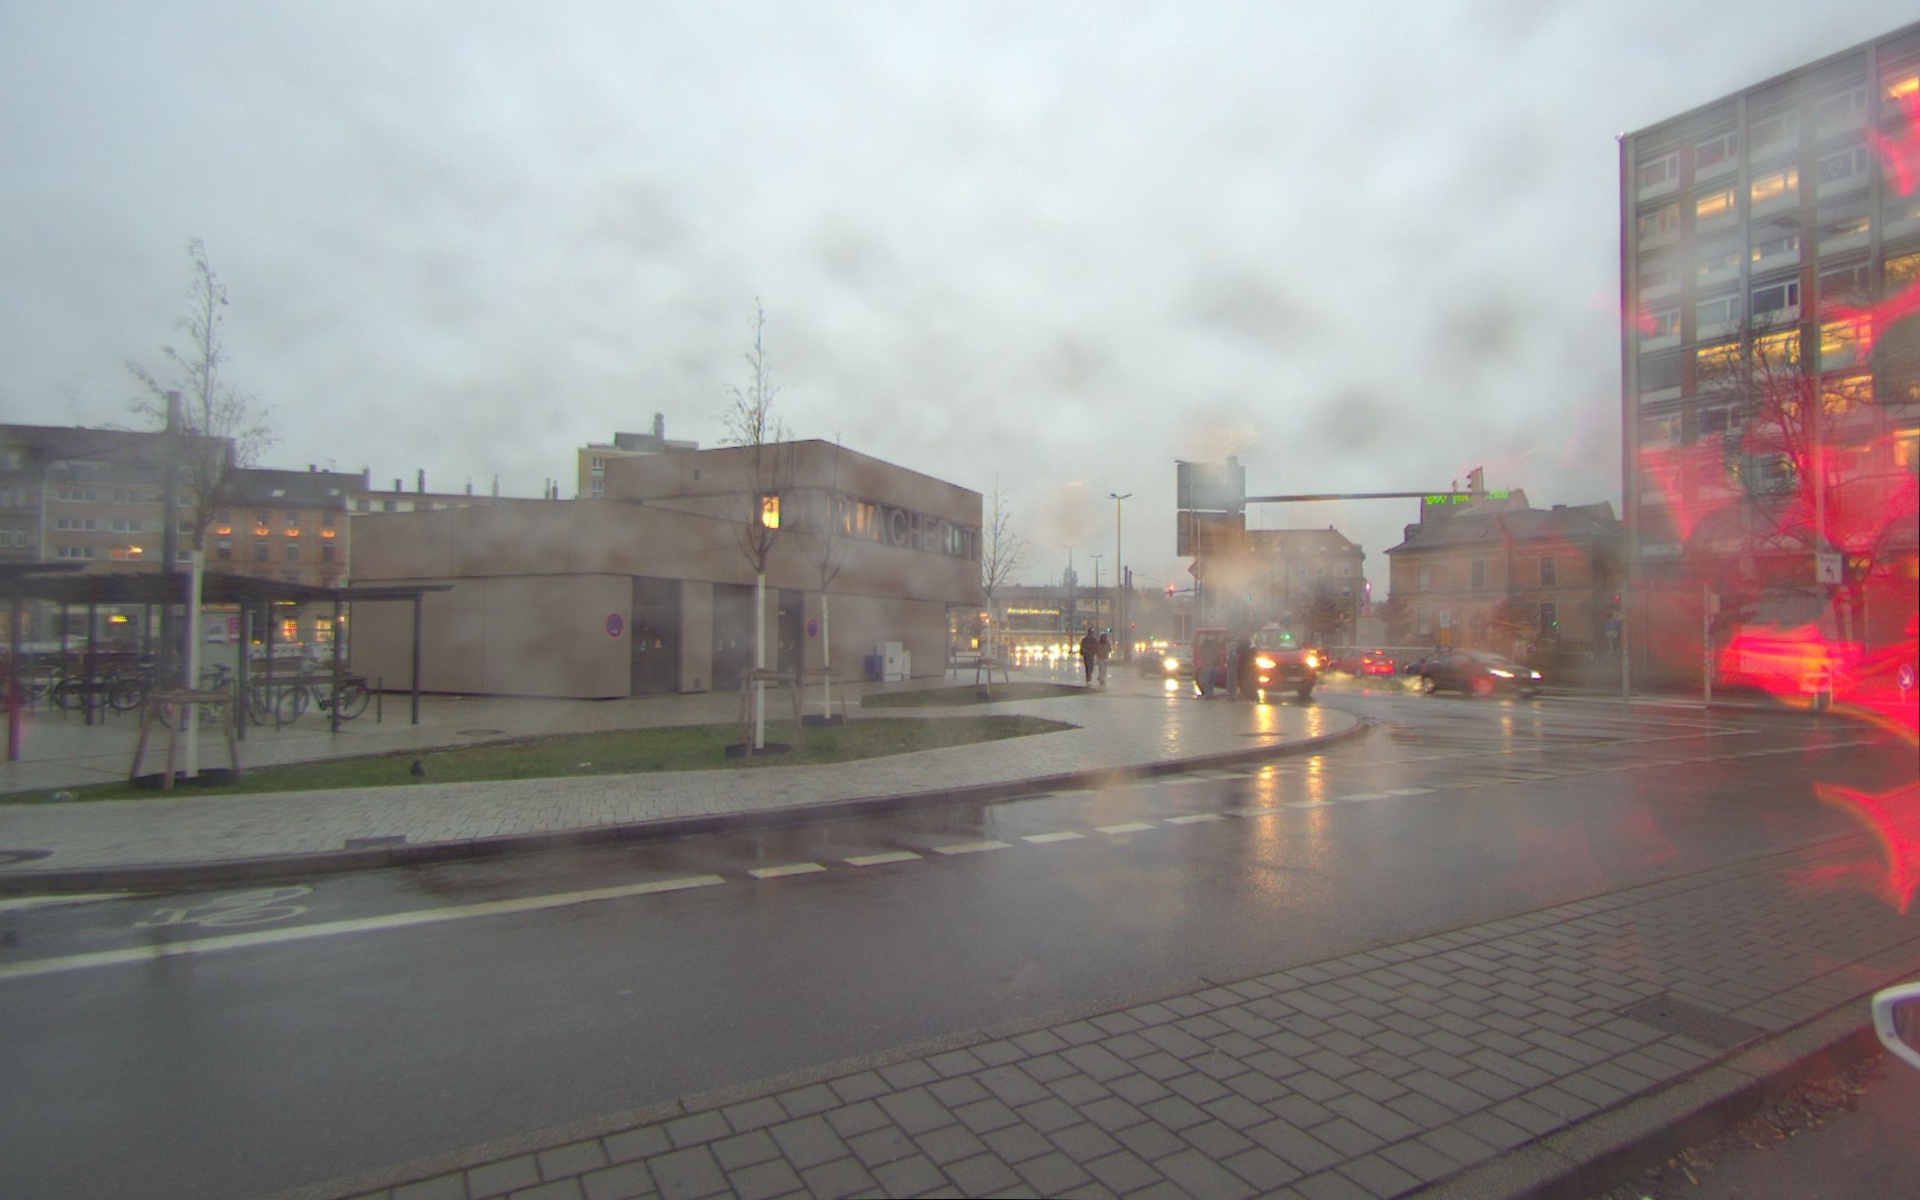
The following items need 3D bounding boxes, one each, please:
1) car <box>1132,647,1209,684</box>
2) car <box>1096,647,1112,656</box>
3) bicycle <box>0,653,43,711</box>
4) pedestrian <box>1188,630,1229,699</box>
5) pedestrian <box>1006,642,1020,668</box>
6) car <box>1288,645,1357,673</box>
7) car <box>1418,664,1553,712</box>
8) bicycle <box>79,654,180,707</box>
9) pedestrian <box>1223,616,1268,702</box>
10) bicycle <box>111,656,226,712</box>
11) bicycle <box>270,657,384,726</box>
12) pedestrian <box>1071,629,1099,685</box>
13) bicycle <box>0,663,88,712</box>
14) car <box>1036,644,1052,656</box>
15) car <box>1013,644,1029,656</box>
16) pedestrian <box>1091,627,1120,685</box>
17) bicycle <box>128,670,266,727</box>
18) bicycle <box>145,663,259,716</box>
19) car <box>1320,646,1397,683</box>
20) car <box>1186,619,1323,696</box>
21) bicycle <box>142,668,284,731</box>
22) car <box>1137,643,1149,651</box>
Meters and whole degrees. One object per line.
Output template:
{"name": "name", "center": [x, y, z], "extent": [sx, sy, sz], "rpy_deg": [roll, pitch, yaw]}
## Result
{"name": "car", "center": [9.627, 3.001, 46.257], "extent": [1.810, 1.603, 4.126], "rpy_deg": [1, -3, -15]}
{"name": "car", "center": [25.361, 8.996, 177.089], "extent": [1.706, 1.529, 3.998], "rpy_deg": [-1, -2, 24]}
{"name": "bicycle", "center": [-19.393, 1.627, 19.837], "extent": [0.466, 1.122, 1.797], "rpy_deg": [1, -2, 29]}
{"name": "pedestrian", "center": [6.589, 1.698, 26.626], "extent": [0.838, 1.778, 0.659], "rpy_deg": [0, -2, -14]}
{"name": "pedestrian", "center": [4.209, 4.362, 79.695], "extent": [0.741, 2.040, 0.753], "rpy_deg": [1, -2, -31]}
{"name": "car", "center": [20.904, 3.395, 58.002], "extent": [3.364, 1.481, 1.515], "rpy_deg": [2, 0, -1]}
{"name": "car", "center": [16.285, 2.716, 31.329], "extent": [1.672, 1.319, 3.758], "rpy_deg": [1, -3, -13]}
{"name": "bicycle", "center": [-17.686, 1.704, 21.431], "extent": [0.511, 1.050, 1.573], "rpy_deg": [1, -2, 19]}
{"name": "pedestrian", "center": [6.942, 1.433, 24.395], "extent": [0.971, 2.047, 0.802], "rpy_deg": [-1, -2, 19]}
{"name": "bicycle", "center": [-16.530, 1.730, 21.038], "extent": [0.466, 1.087, 1.830], "rpy_deg": [1, -2, 26]}
{"name": "bicycle", "center": [-11.749, 1.669, 18.718], "extent": [0.605, 1.172, 1.755], "rpy_deg": [1, -2, 20]}
{"name": "pedestrian", "center": [4.034, 1.841, 32.561], "extent": [0.731, 1.793, 0.546], "rpy_deg": [0, -2, -16]}
{"name": "bicycle", "center": [-18.508, 1.727, 19.988], "extent": [0.466, 0.903, 1.693], "rpy_deg": [1, -2, 24]}
{"name": "car", "center": [10.599, 6.320, 126.510], "extent": [1.775, 1.496, 4.595], "rpy_deg": [1, -3, 2]}
{"name": "car", "center": [7.618, 6.241, 125.670], "extent": [1.711, 1.467, 3.714], "rpy_deg": [-1, -2, 0]}
{"name": "pedestrian", "center": [4.738, 1.825, 32.778], "extent": [0.723, 1.863, 0.674], "rpy_deg": [0, -2, -16]}
{"name": "bicycle", "center": [-13.586, 1.732, 17.950], "extent": [0.466, 0.903, 1.923], "rpy_deg": [1, -2, 29]}
{"name": "bicycle", "center": [-15.179, 1.772, 20.173], "extent": [0.466, 0.968, 1.767], "rpy_deg": [1, -2, 29]}
{"name": "car", "center": [20.498, 3.299, 51.815], "extent": [1.795, 1.589, 3.991], "rpy_deg": [2, 0, -11]}
{"name": "car", "center": [8.623, 1.685, 29.858], "extent": [1.896, 2.097, 4.634], "rpy_deg": [0, -3, -12]}
{"name": "bicycle", "center": [-12.935, 1.697, 17.458], "extent": [0.466, 0.989, 1.923], "rpy_deg": [1, -2, 29]}
{"name": "car", "center": [36.296, 9.229, 199.029], "extent": [1.705, 1.529, 4.000], "rpy_deg": [-1, -2, 20]}
